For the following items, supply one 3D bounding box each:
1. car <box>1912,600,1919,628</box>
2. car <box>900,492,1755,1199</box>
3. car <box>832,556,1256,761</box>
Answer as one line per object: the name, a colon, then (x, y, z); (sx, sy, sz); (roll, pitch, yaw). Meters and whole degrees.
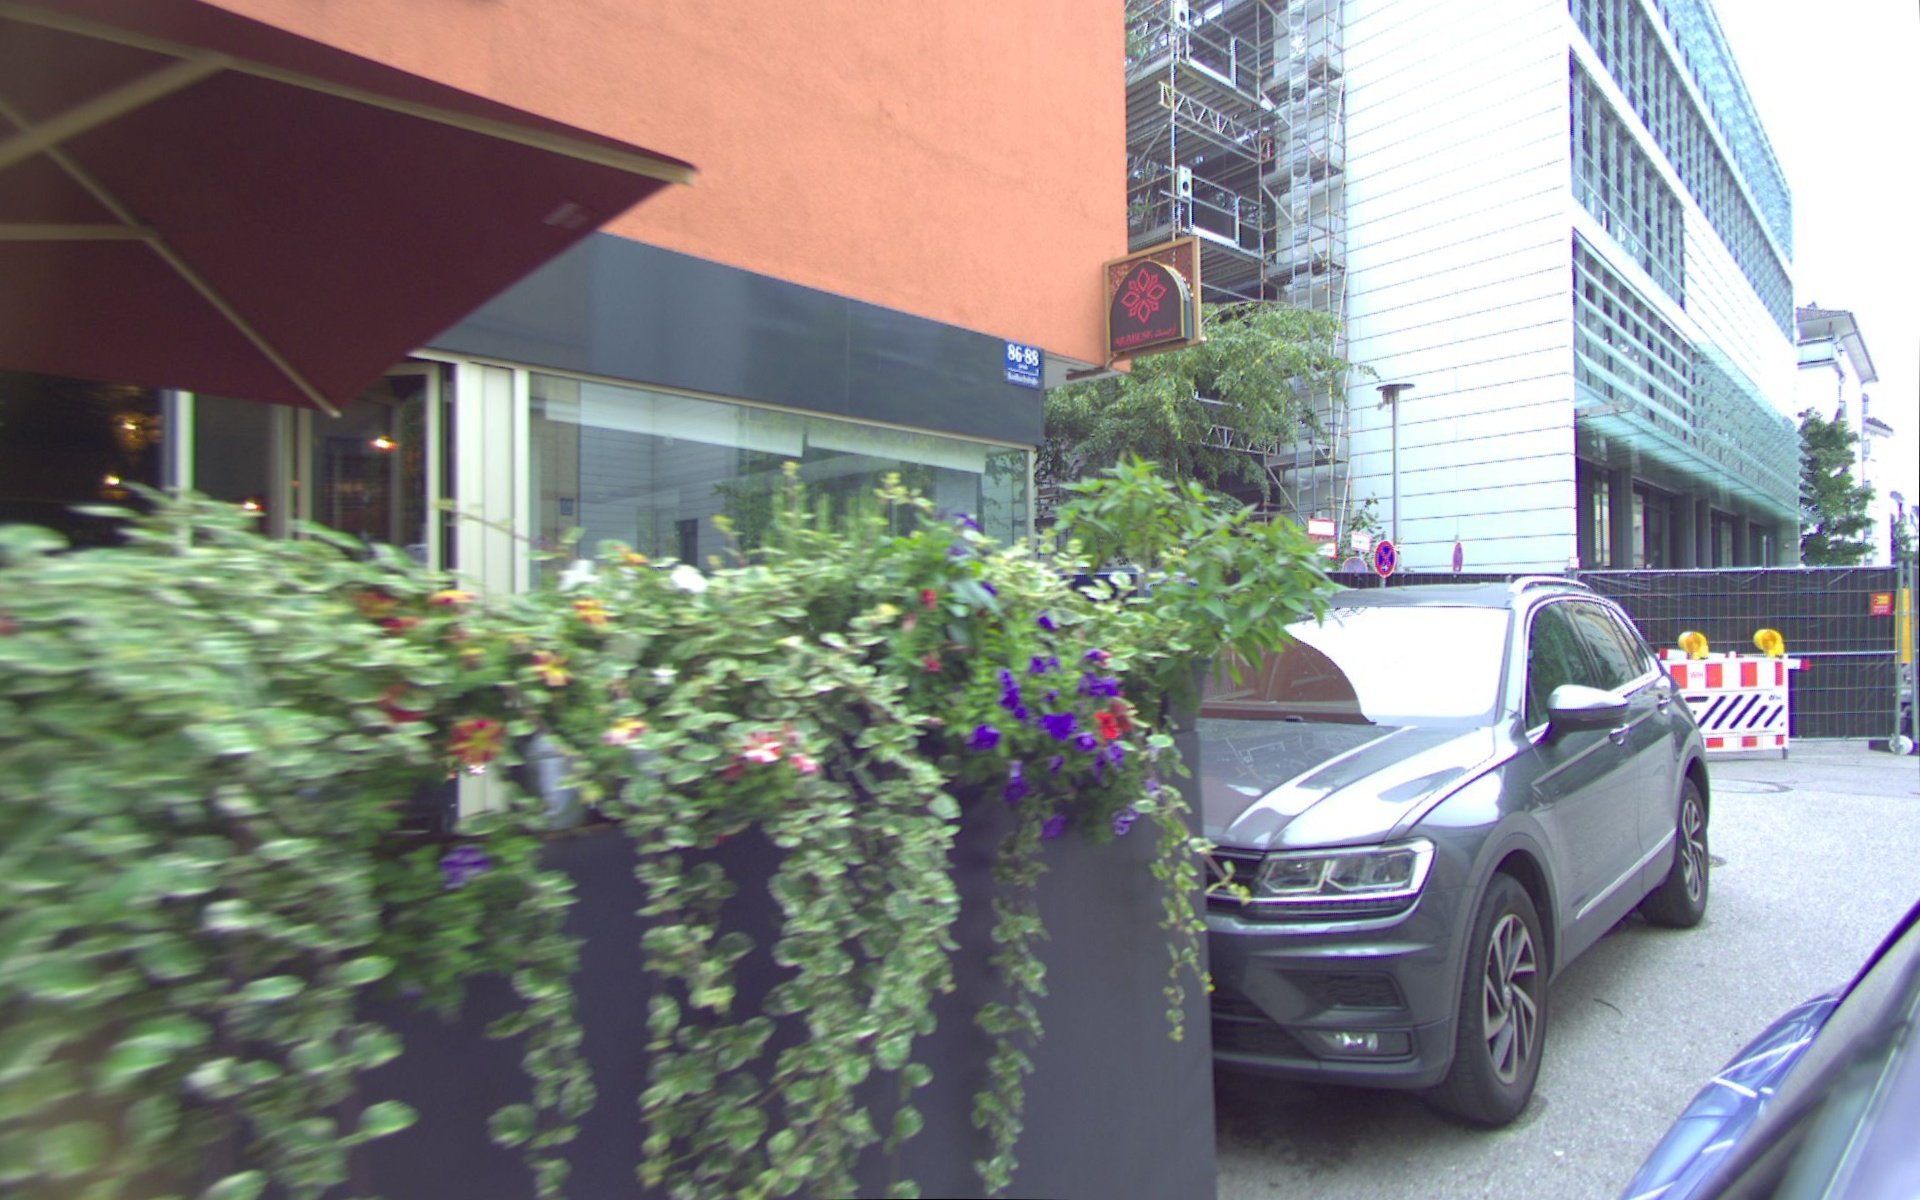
car: (51.938, 0.712, 53.772); (3.935, 1.416, 1.805); (0, -1, -45)
car: (1.977, 0.634, 4.545); (4.315, 1.732, 1.825); (0, -2, -43)
car: (0.695, 0.501, 10.841); (1.810, 1.742, 4.464); (0, 0, -44)
